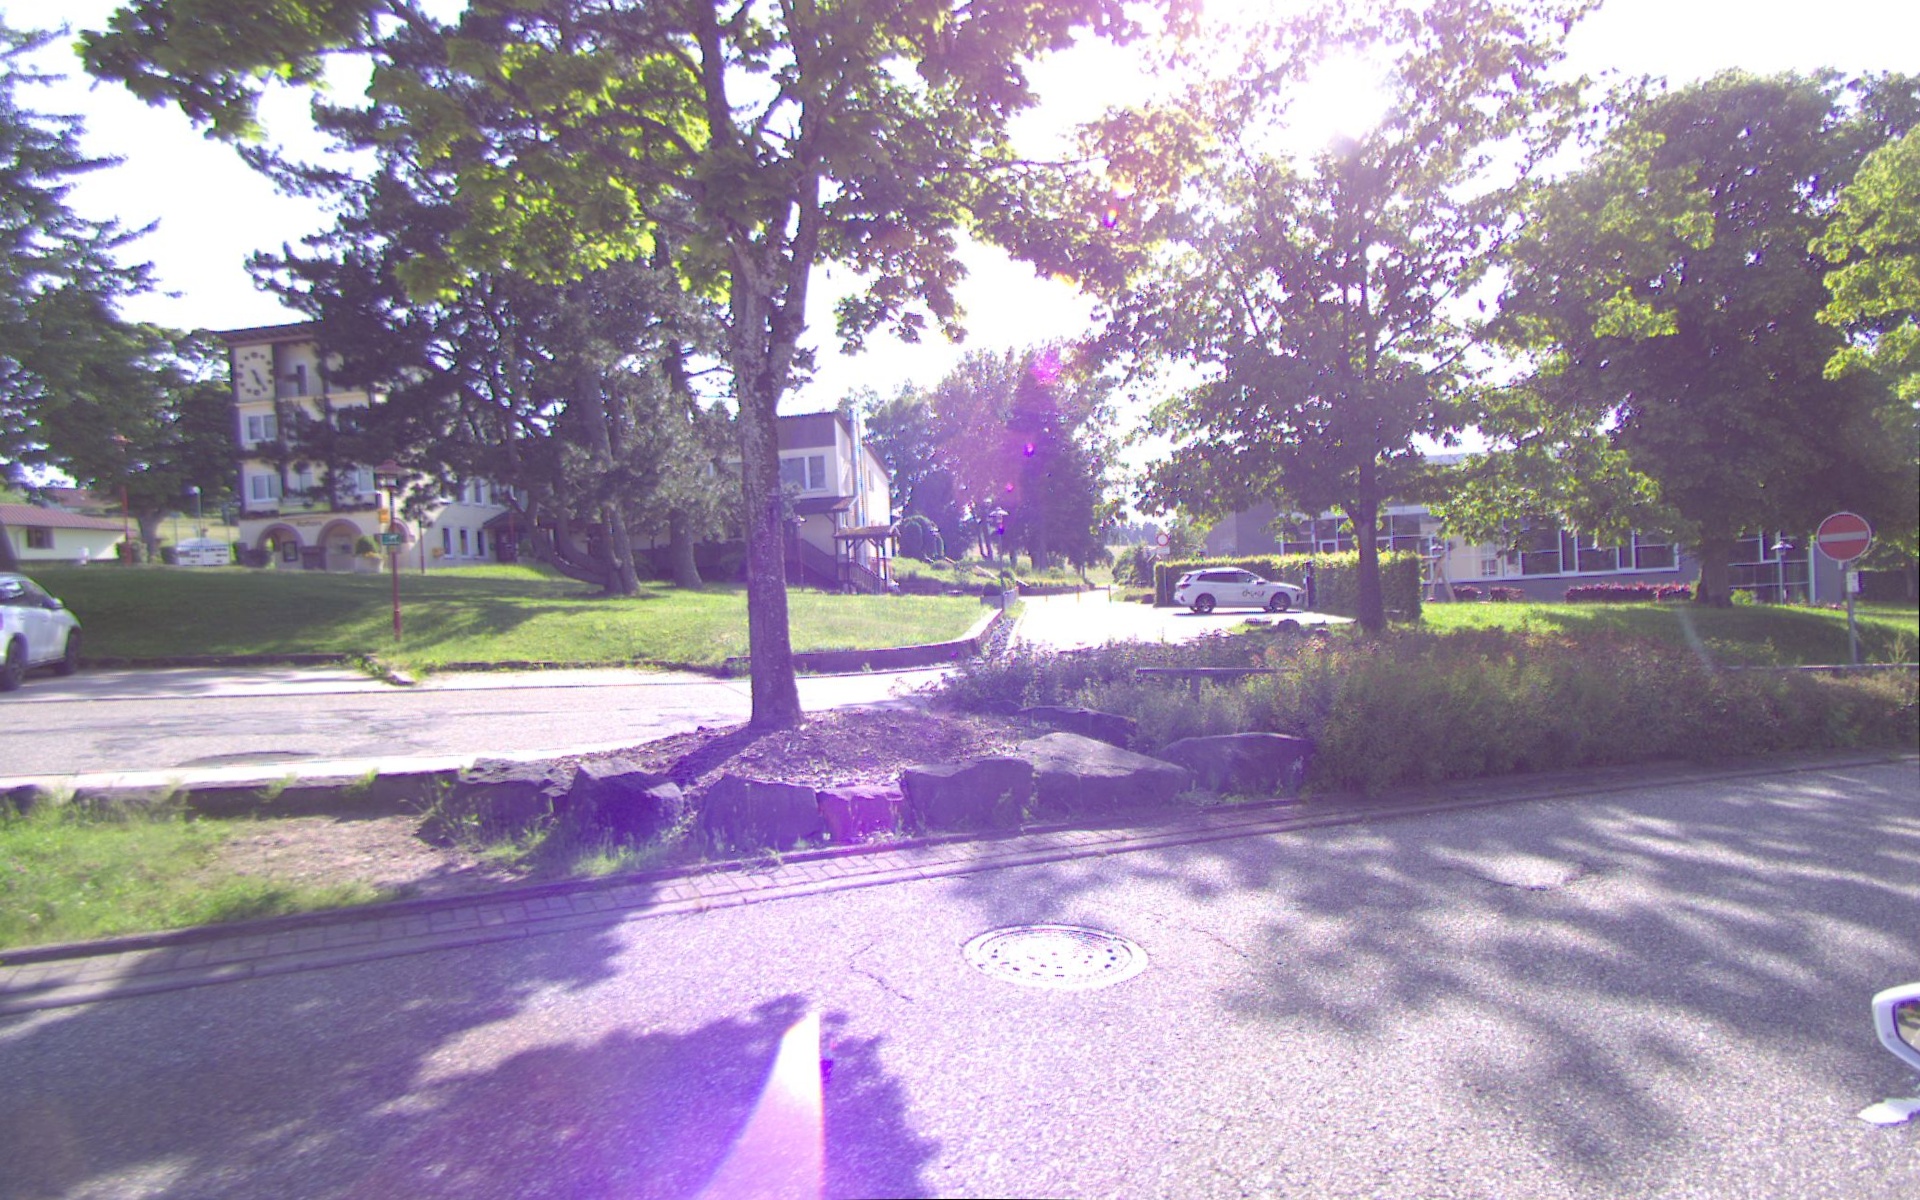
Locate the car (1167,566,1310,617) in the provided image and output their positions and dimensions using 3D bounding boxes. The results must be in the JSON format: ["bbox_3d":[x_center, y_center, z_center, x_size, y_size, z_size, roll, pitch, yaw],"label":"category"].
[{"bbox_3d":[9.983,-0.328,36.304,4.635,1.555,2.000,-2,4,4],"label":"car"}]

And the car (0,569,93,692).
[{"bbox_3d":[-14.333,0.379,14.638,1.754,1.631,3.912,1,0,-29],"label":"car"}]
